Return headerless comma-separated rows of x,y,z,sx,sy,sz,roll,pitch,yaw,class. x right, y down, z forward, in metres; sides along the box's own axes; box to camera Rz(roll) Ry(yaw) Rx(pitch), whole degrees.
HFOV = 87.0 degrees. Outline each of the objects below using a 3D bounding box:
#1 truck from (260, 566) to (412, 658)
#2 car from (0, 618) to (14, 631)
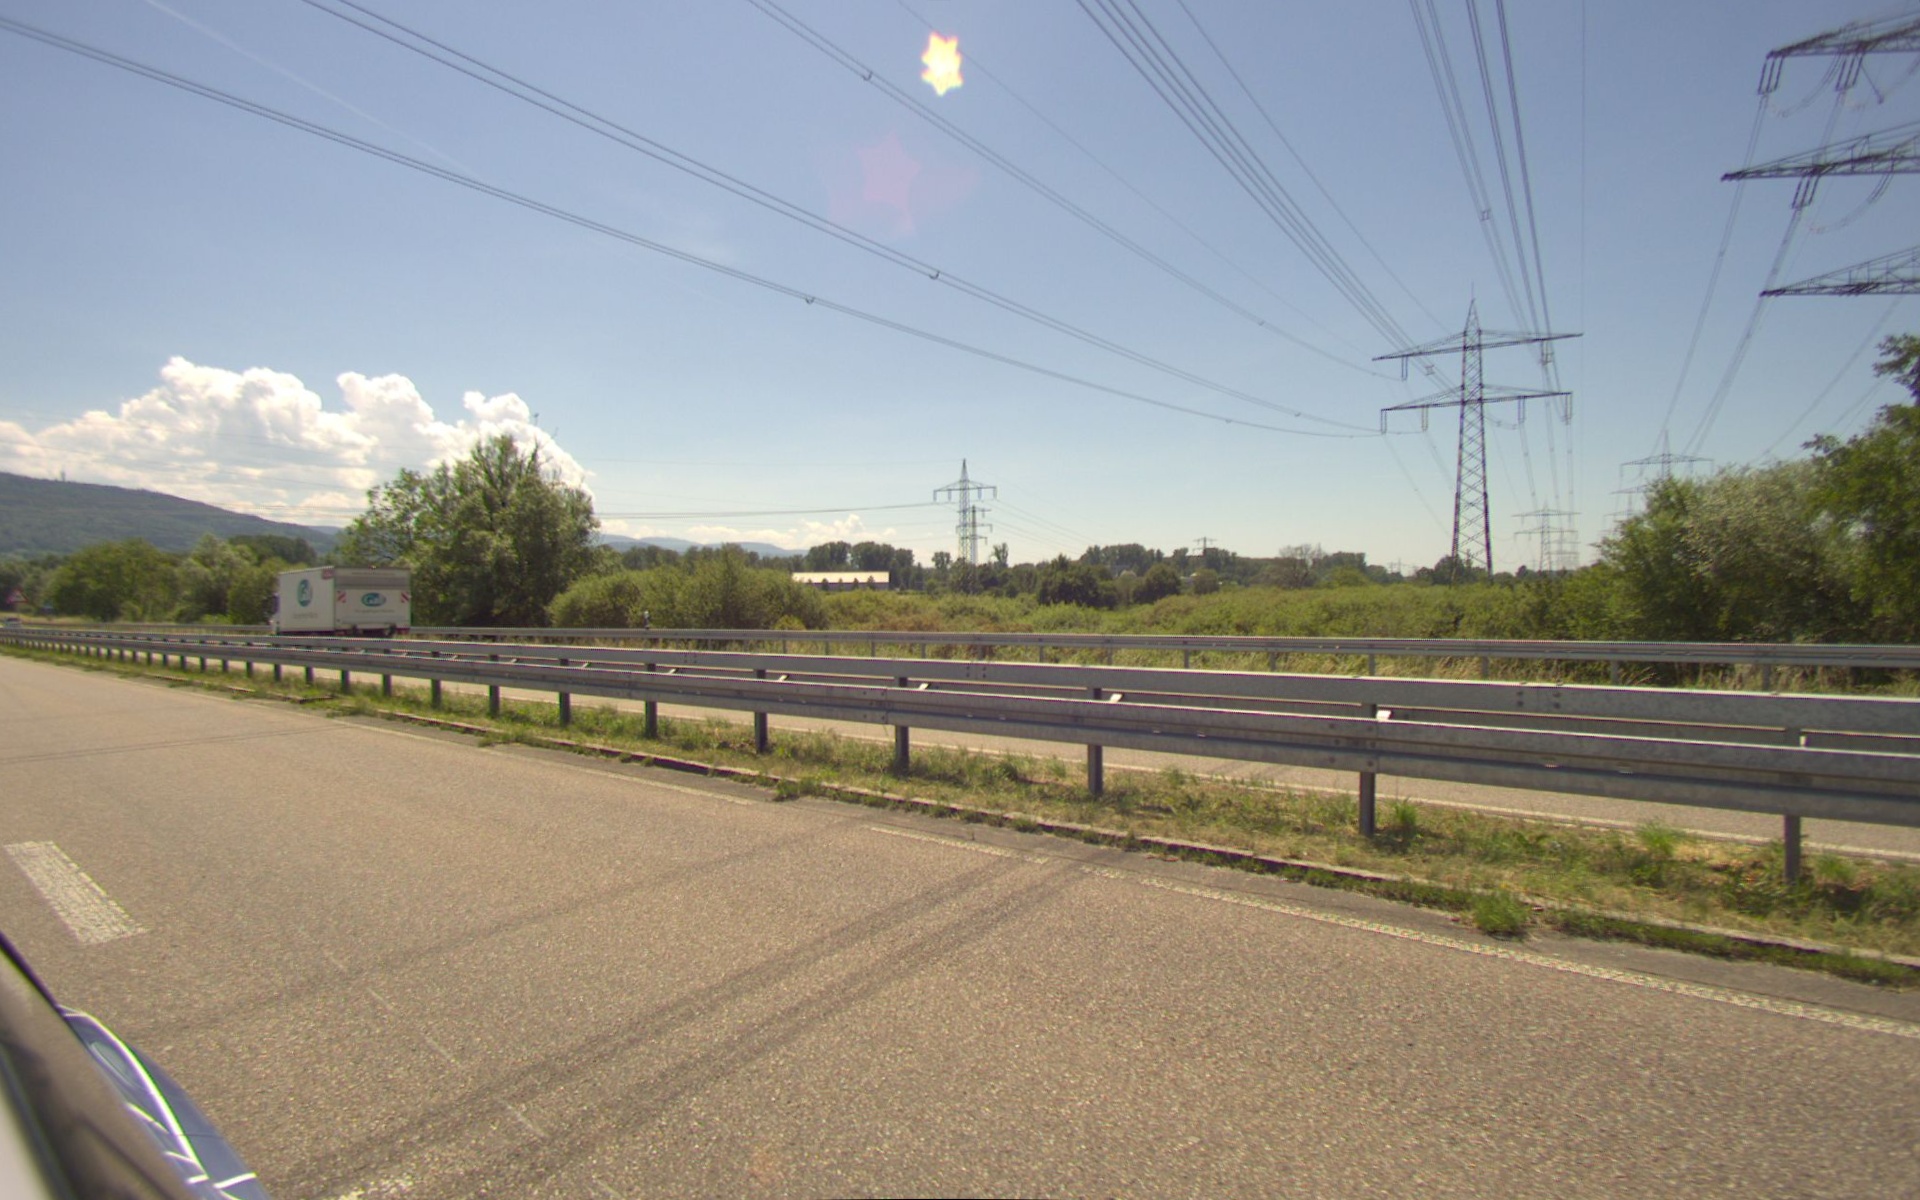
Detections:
-24.309,0.494,39.195,8.401,3.217,2.690,-1,-1,41,truck
-105.433,2.691,111.444,3.700,1.460,1.516,-1,-1,42,car
